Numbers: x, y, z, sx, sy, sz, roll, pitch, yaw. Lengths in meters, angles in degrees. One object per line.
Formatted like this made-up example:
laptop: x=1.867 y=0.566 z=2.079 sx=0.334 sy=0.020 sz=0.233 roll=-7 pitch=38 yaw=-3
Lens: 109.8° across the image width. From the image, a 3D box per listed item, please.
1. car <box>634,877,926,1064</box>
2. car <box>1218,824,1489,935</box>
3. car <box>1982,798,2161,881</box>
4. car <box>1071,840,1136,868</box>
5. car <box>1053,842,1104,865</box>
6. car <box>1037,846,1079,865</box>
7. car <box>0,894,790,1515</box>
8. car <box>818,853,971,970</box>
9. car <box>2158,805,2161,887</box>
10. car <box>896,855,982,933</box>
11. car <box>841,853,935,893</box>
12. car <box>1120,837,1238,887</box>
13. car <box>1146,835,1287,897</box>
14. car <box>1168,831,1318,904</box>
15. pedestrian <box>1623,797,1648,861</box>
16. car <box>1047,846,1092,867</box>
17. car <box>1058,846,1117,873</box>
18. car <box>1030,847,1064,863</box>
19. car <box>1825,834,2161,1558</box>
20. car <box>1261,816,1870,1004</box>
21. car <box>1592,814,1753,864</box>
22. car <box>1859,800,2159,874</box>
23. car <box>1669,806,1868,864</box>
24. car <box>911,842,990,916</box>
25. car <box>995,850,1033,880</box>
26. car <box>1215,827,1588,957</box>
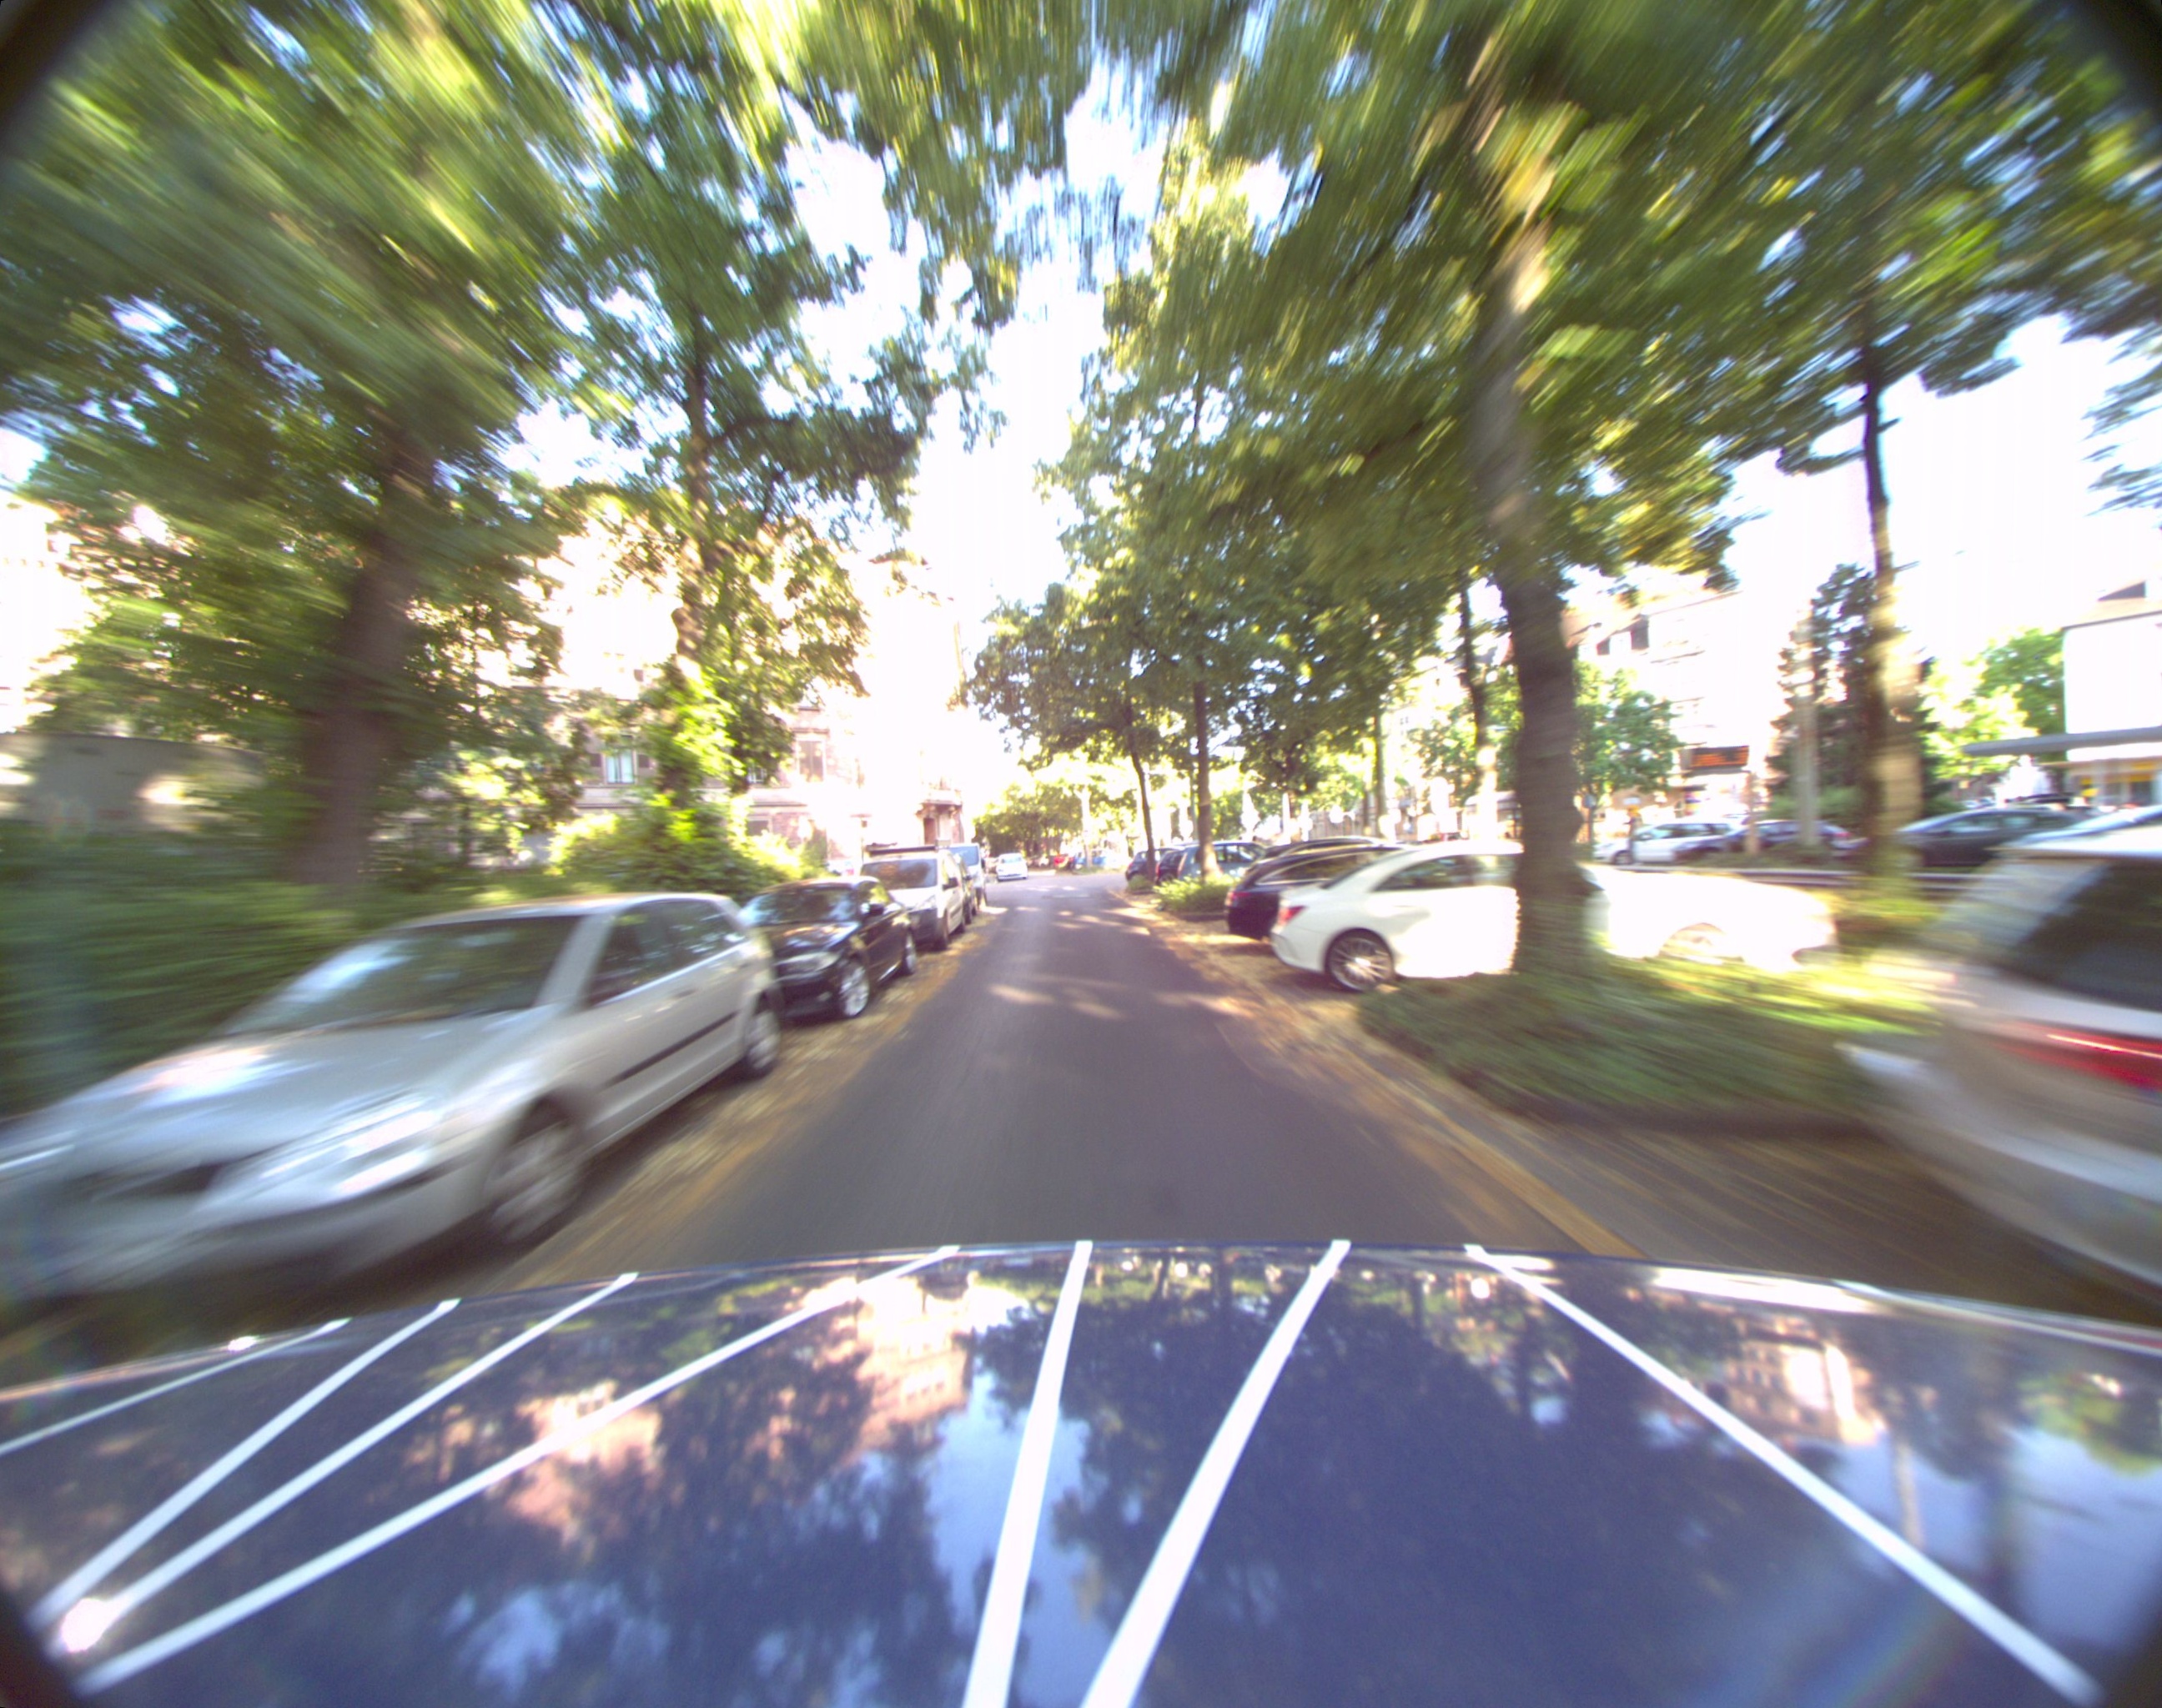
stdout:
car: x=-3.080 y=1.087 z=8.822 sx=1.676 sy=1.382 sz=4.265 roll=-3 pitch=1 yaw=-1
car: x=4.639 y=0.431 z=13.126 sx=3.991 sy=1.503 sz=1.963 roll=-5 pitch=0 yaw=24
car: x=20.172 y=-0.321 z=14.199 sx=3.872 sy=1.436 sz=1.857 roll=-3 pitch=1 yaw=31
car: x=1.662 y=0.020 z=56.325 sx=4.434 sy=1.613 sz=1.636 roll=-5 pitch=2 yaw=20
car: x=-0.224 y=-0.046 z=69.946 sx=4.235 sy=1.658 sz=1.636 roll=-5 pitch=2 yaw=20
car: x=-2.521 y=0.180 z=84.962 sx=4.235 sy=1.658 sz=1.636 roll=-5 pitch=2 yaw=20
car: x=-3.155 y=1.104 z=4.049 sx=1.676 sy=1.450 sz=3.892 roll=-3 pitch=1 yaw=-1
car: x=-3.229 y=0.892 z=14.063 sx=1.792 sy=1.698 sz=4.375 roll=-3 pitch=1 yaw=-2
car: x=20.227 y=-0.187 z=11.630 sx=3.872 sy=1.436 sz=1.857 roll=-3 pitch=1 yaw=31
car: x=-3.427 y=0.898 z=18.966 sx=1.571 sy=1.606 sz=3.893 roll=-3 pitch=1 yaw=-4
car: x=-9.271 y=0.906 z=36.593 sx=4.005 sy=1.637 sz=1.681 roll=-4 pitch=-2 yaw=-30
car: x=3.633 y=0.293 z=28.085 sx=3.889 sy=1.440 sz=1.637 roll=-5 pitch=2 yaw=26
car: x=3.998 y=0.358 z=22.418 sx=3.687 sy=1.440 sz=1.637 roll=-5 pitch=2 yaw=26
car: x=4.170 y=0.344 z=19.564 sx=3.346 sy=1.559 sz=1.574 roll=-5 pitch=0 yaw=28
pedestrian: x=17.880 y=-0.800 z=24.521 sx=0.536 sy=2.002 sz=0.644 roll=-2 pitch=1 yaw=31
car: x=-1.190 y=0.283 z=78.755 sx=4.235 sy=1.658 sz=1.636 roll=-5 pitch=2 yaw=20
car: x=0.518 y=0.439 z=59.783 sx=4.235 sy=1.613 sz=1.636 roll=-5 pitch=2 yaw=20
car: x=-4.379 y=0.113 z=97.831 sx=4.241 sy=1.658 sz=1.634 roll=-6 pitch=2 yaw=-3
car: x=4.476 y=0.595 z=1.255 sx=4.234 sy=1.432 sz=1.859 roll=-5 pitch=1 yaw=29
car: x=4.294 y=0.559 z=7.521 sx=4.456 sy=1.396 sz=1.860 roll=-5 pitch=0 yaw=29
car: x=20.135 y=-0.506 z=26.109 sx=4.139 sy=1.612 sz=1.891 roll=0 pitch=2 yaw=30
car: x=20.719 y=-0.373 z=17.240 sx=3.989 sy=1.510 sz=1.590 roll=0 pitch=2 yaw=31
car: x=20.410 y=-0.559 z=22.824 sx=4.139 sy=1.612 sz=1.891 roll=0 pitch=2 yaw=32
car: x=-3.916 y=0.672 z=23.672 sx=1.971 sy=1.924 sz=5.452 roll=-3 pitch=1 yaw=-6
car: x=-4.303 y=0.656 z=48.366 sx=1.942 sy=1.613 sz=4.239 roll=-6 pitch=1 yaw=-9
car: x=4.259 y=0.543 z=10.503 sx=4.304 sy=1.396 sz=1.747 roll=-5 pitch=0 yaw=26
